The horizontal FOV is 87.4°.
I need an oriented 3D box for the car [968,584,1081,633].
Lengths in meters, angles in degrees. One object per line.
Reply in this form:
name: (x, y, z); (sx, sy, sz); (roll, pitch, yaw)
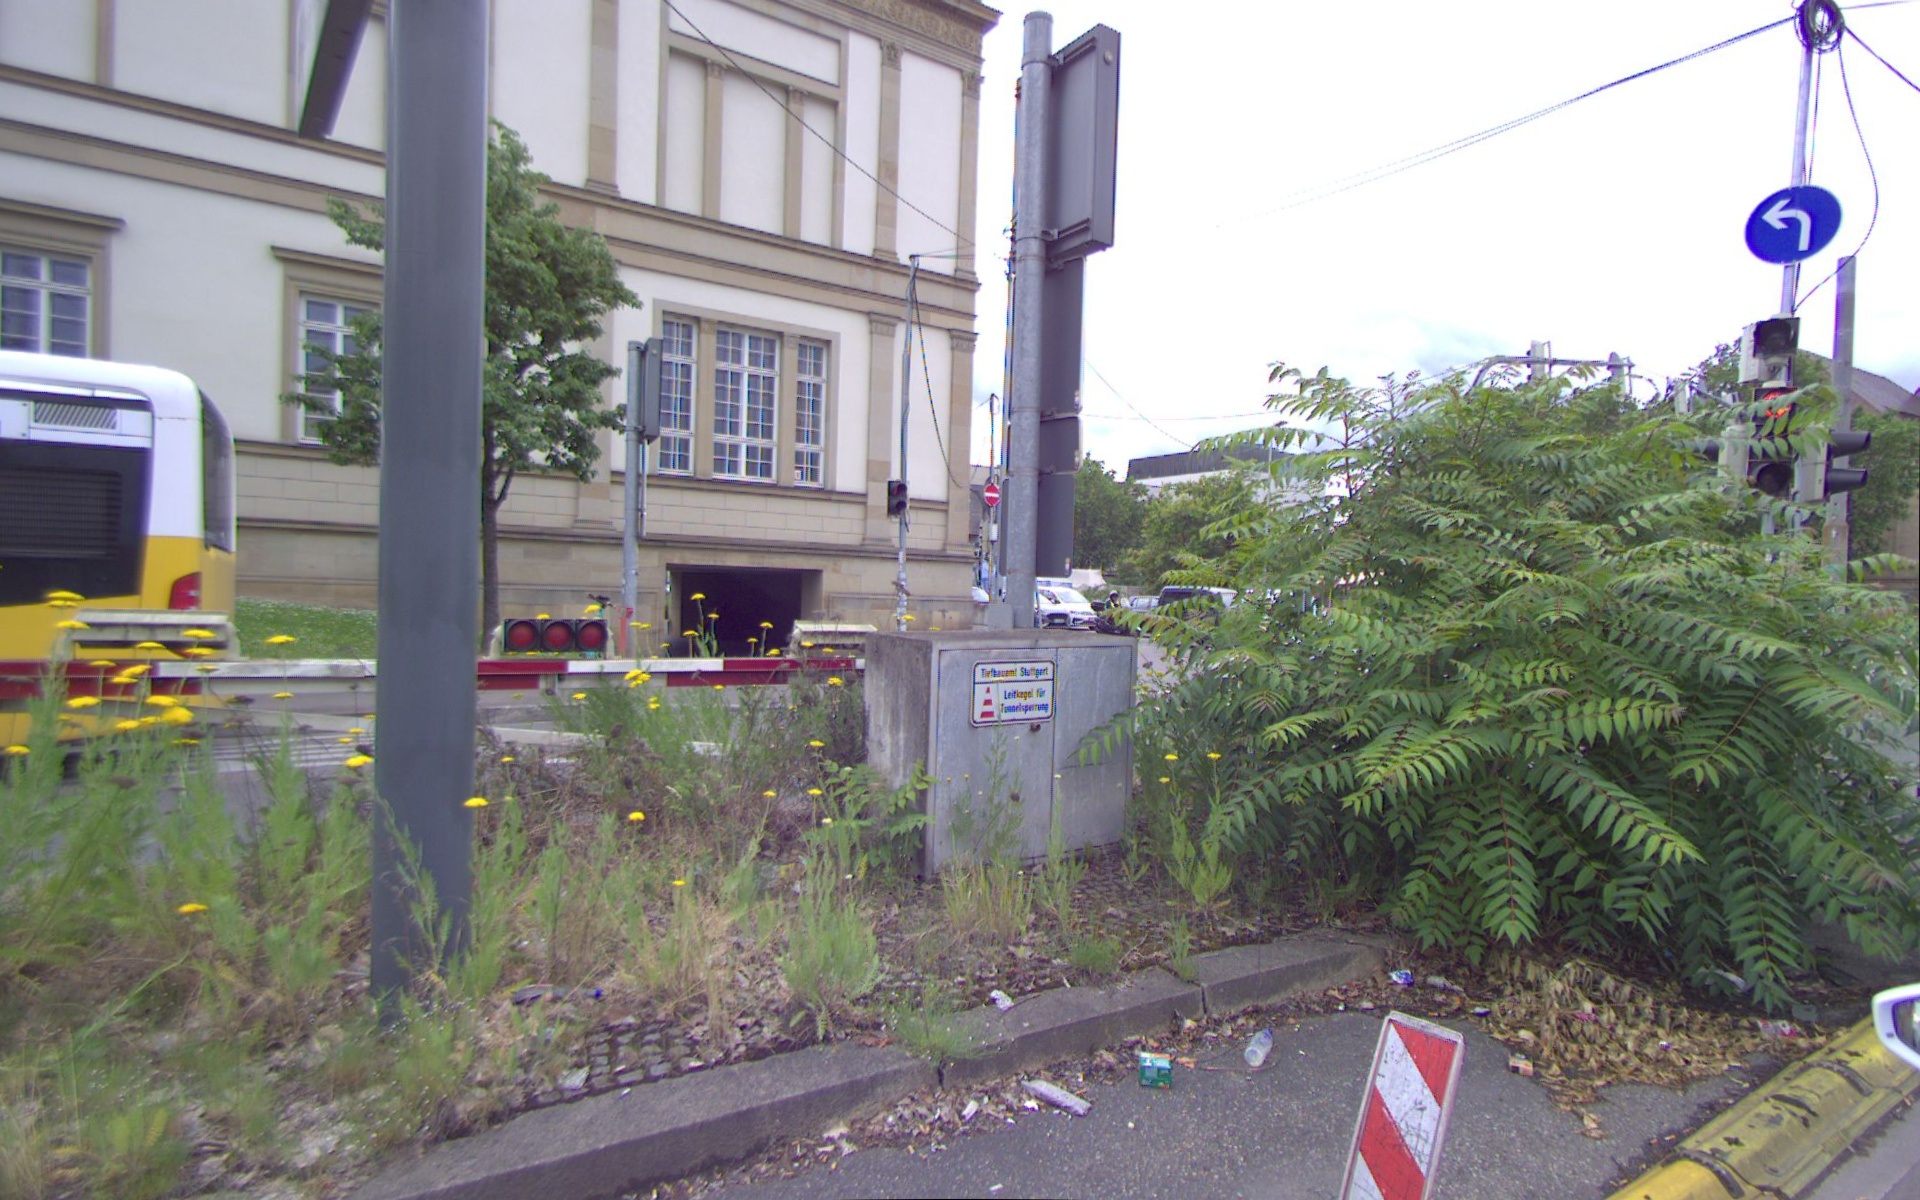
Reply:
car: (2.346, 0.283, 37.567); (1.979, 1.698, 4.285); (1, 1, -34)

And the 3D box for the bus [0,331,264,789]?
bus: (-10.079, -0.357, 6.437); (9.020, 3.156, 2.830); (1, 1, -32)

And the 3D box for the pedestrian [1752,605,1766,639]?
pedestrian: (49.775, 1.367, 62.575); (0.516, 2.040, 0.428); (2, 1, 17)

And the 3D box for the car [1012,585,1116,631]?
car: (4.205, 0.305, 41.207); (1.979, 1.698, 4.285); (1, 1, -34)

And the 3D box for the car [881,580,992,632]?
car: (-0.899, 0.175, 35.929); (1.979, 1.698, 4.285); (1, 1, -34)

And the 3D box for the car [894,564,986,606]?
car: (-0.930, -0.674, 43.694); (1.979, 1.698, 4.285); (1, 1, -34)

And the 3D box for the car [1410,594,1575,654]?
car: (17.139, 0.736, 32.458); (1.986, 1.698, 4.271); (1, 1, -43)

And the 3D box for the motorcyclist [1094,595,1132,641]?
motorcyclist: (5.001, 0.579, 32.776); (0.738, 1.442, 0.959); (1, 1, -35)

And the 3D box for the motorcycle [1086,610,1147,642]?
motorcycle: (5.081, 0.835, 32.662); (0.749, 0.937, 2.042); (1, 1, -35)

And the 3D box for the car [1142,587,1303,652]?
car: (7.555, 0.519, 29.288); (1.979, 1.698, 4.285); (1, 1, -34)

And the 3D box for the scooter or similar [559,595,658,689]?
scooter or similar: (-4.933, 0.580, 14.144); (1.132, 1.190, 0.540); (6, 0, -10)
